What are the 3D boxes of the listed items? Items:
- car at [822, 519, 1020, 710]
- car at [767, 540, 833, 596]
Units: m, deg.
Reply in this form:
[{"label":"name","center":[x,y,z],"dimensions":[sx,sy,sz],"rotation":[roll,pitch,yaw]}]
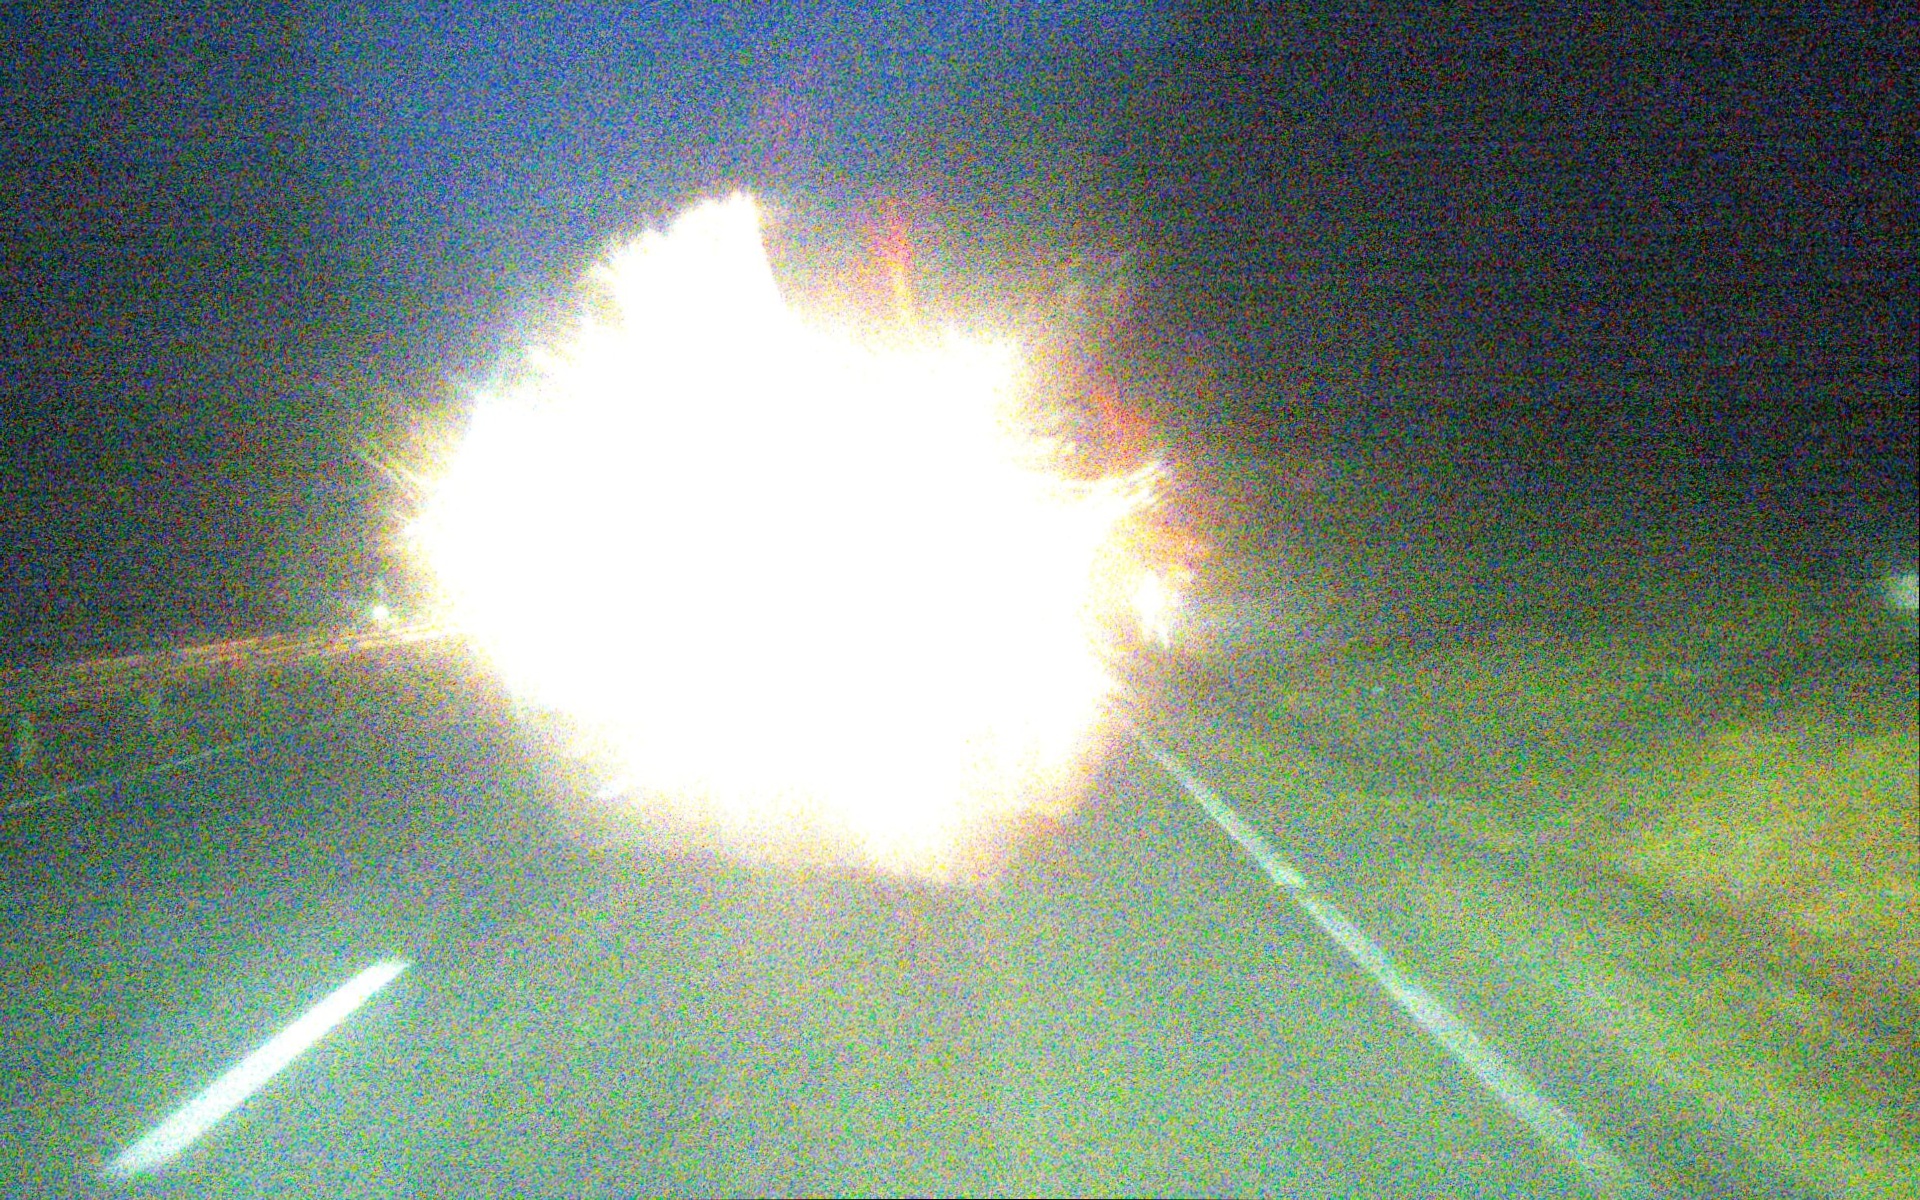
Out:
[{"label":"car","center":[-0.451,0.105,37.450],"dimensions":[1.993,1.800,3.918],"rotation":[-2,3,-1]},{"label":"car","center":[-5.067,-1.019,108.370],"dimensions":[1.634,1.575,3.746],"rotation":[-2,3,-9]}]
